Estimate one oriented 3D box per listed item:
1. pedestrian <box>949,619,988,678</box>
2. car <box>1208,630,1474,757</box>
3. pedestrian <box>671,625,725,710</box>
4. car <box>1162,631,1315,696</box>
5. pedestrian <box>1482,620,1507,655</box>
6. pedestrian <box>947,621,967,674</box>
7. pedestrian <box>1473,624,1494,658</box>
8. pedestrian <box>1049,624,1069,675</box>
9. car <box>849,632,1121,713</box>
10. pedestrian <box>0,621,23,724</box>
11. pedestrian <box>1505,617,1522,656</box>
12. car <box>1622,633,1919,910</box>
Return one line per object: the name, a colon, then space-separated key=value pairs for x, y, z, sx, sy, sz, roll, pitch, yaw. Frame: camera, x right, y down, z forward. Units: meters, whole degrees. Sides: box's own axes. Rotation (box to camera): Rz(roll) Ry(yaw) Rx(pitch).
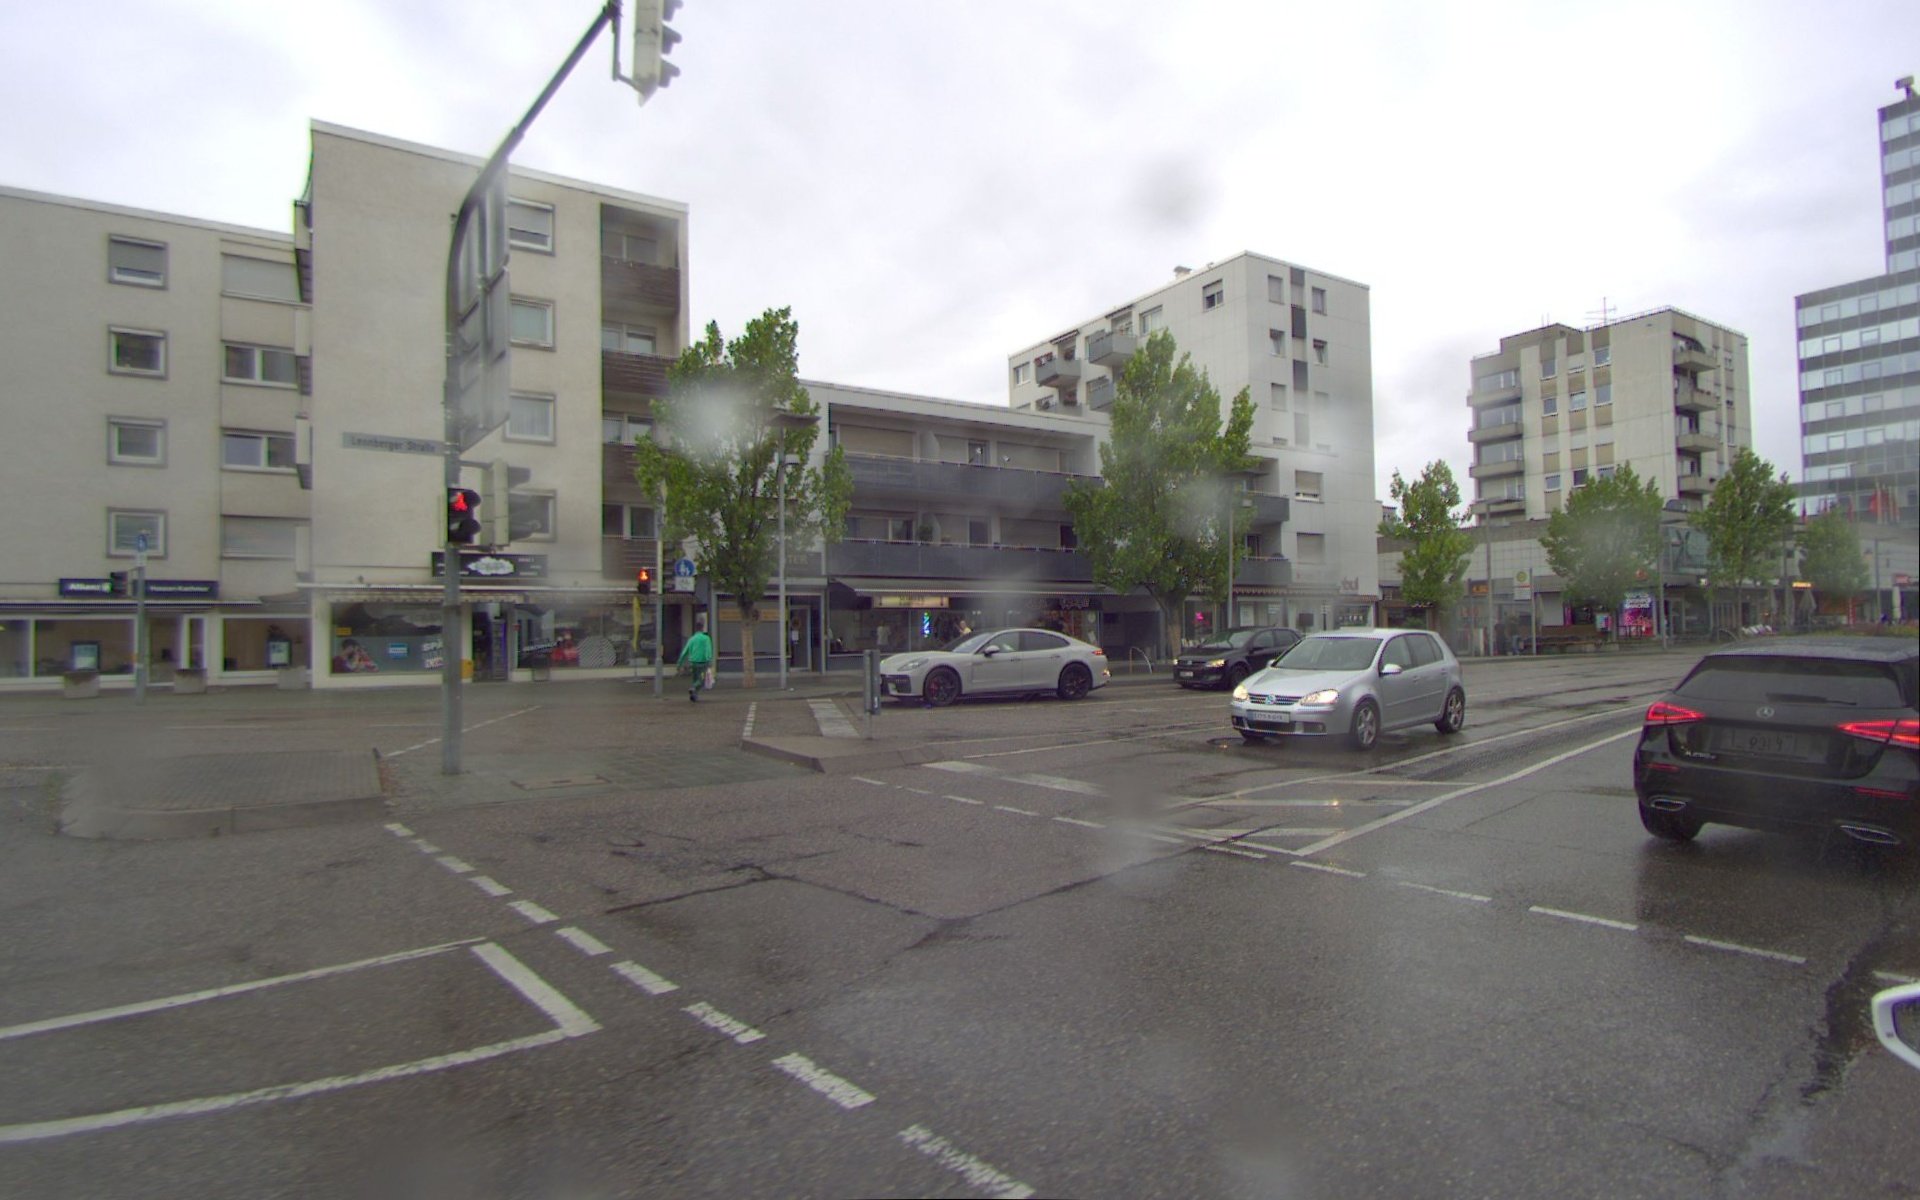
pedestrian: x=0.266 y=1.551 z=32.255 sx=0.916 sy=1.834 sz=0.866 roll=1 pitch=-2 yaw=-35
car: x=5.335 y=1.177 z=13.842 sx=3.960 sy=1.460 sz=1.726 roll=1 pitch=-3 yaw=-41
pedestrian: x=-5.186 y=1.330 z=19.951 sx=0.934 sy=1.644 sz=0.808 roll=0 pitch=-2 yaw=-7
car: x=6.536 y=1.431 z=23.424 sx=3.740 sy=1.314 sz=1.426 roll=0 pitch=-2 yaw=-36
pedestrian: x=24.553 y=1.715 z=46.159 sx=0.631 sy=1.592 sz=0.787 roll=0 pitch=-2 yaw=-42
pedestrian: x=-0.101 y=1.604 z=33.856 sx=0.496 sy=1.746 sz=0.444 roll=1 pitch=-3 yaw=-37
pedestrian: x=23.819 y=1.858 z=45.698 sx=0.631 sy=1.490 sz=0.628 roll=0 pitch=-2 yaw=-42
pedestrian: x=3.559 y=1.767 z=36.097 sx=0.485 sy=1.817 sz=0.564 roll=0 pitch=-3 yaw=-29
car: x=0.519 y=1.376 z=20.164 sx=5.076 sy=1.432 sz=2.110 roll=1 pitch=-2 yaw=-26
pedestrian: x=-16.426 y=1.214 z=16.784 sx=0.901 sy=1.699 sz=0.935 roll=-2 pitch=-3 yaw=35
pedestrian: x=25.200 y=1.647 z=45.739 sx=0.533 sy=1.741 sz=0.483 roll=-1 pitch=-2 yaw=-38
car: x=6.632 y=1.001 z=7.176 sx=4.049 sy=1.501 sz=1.654 roll=1 pitch=-2 yaw=-32
